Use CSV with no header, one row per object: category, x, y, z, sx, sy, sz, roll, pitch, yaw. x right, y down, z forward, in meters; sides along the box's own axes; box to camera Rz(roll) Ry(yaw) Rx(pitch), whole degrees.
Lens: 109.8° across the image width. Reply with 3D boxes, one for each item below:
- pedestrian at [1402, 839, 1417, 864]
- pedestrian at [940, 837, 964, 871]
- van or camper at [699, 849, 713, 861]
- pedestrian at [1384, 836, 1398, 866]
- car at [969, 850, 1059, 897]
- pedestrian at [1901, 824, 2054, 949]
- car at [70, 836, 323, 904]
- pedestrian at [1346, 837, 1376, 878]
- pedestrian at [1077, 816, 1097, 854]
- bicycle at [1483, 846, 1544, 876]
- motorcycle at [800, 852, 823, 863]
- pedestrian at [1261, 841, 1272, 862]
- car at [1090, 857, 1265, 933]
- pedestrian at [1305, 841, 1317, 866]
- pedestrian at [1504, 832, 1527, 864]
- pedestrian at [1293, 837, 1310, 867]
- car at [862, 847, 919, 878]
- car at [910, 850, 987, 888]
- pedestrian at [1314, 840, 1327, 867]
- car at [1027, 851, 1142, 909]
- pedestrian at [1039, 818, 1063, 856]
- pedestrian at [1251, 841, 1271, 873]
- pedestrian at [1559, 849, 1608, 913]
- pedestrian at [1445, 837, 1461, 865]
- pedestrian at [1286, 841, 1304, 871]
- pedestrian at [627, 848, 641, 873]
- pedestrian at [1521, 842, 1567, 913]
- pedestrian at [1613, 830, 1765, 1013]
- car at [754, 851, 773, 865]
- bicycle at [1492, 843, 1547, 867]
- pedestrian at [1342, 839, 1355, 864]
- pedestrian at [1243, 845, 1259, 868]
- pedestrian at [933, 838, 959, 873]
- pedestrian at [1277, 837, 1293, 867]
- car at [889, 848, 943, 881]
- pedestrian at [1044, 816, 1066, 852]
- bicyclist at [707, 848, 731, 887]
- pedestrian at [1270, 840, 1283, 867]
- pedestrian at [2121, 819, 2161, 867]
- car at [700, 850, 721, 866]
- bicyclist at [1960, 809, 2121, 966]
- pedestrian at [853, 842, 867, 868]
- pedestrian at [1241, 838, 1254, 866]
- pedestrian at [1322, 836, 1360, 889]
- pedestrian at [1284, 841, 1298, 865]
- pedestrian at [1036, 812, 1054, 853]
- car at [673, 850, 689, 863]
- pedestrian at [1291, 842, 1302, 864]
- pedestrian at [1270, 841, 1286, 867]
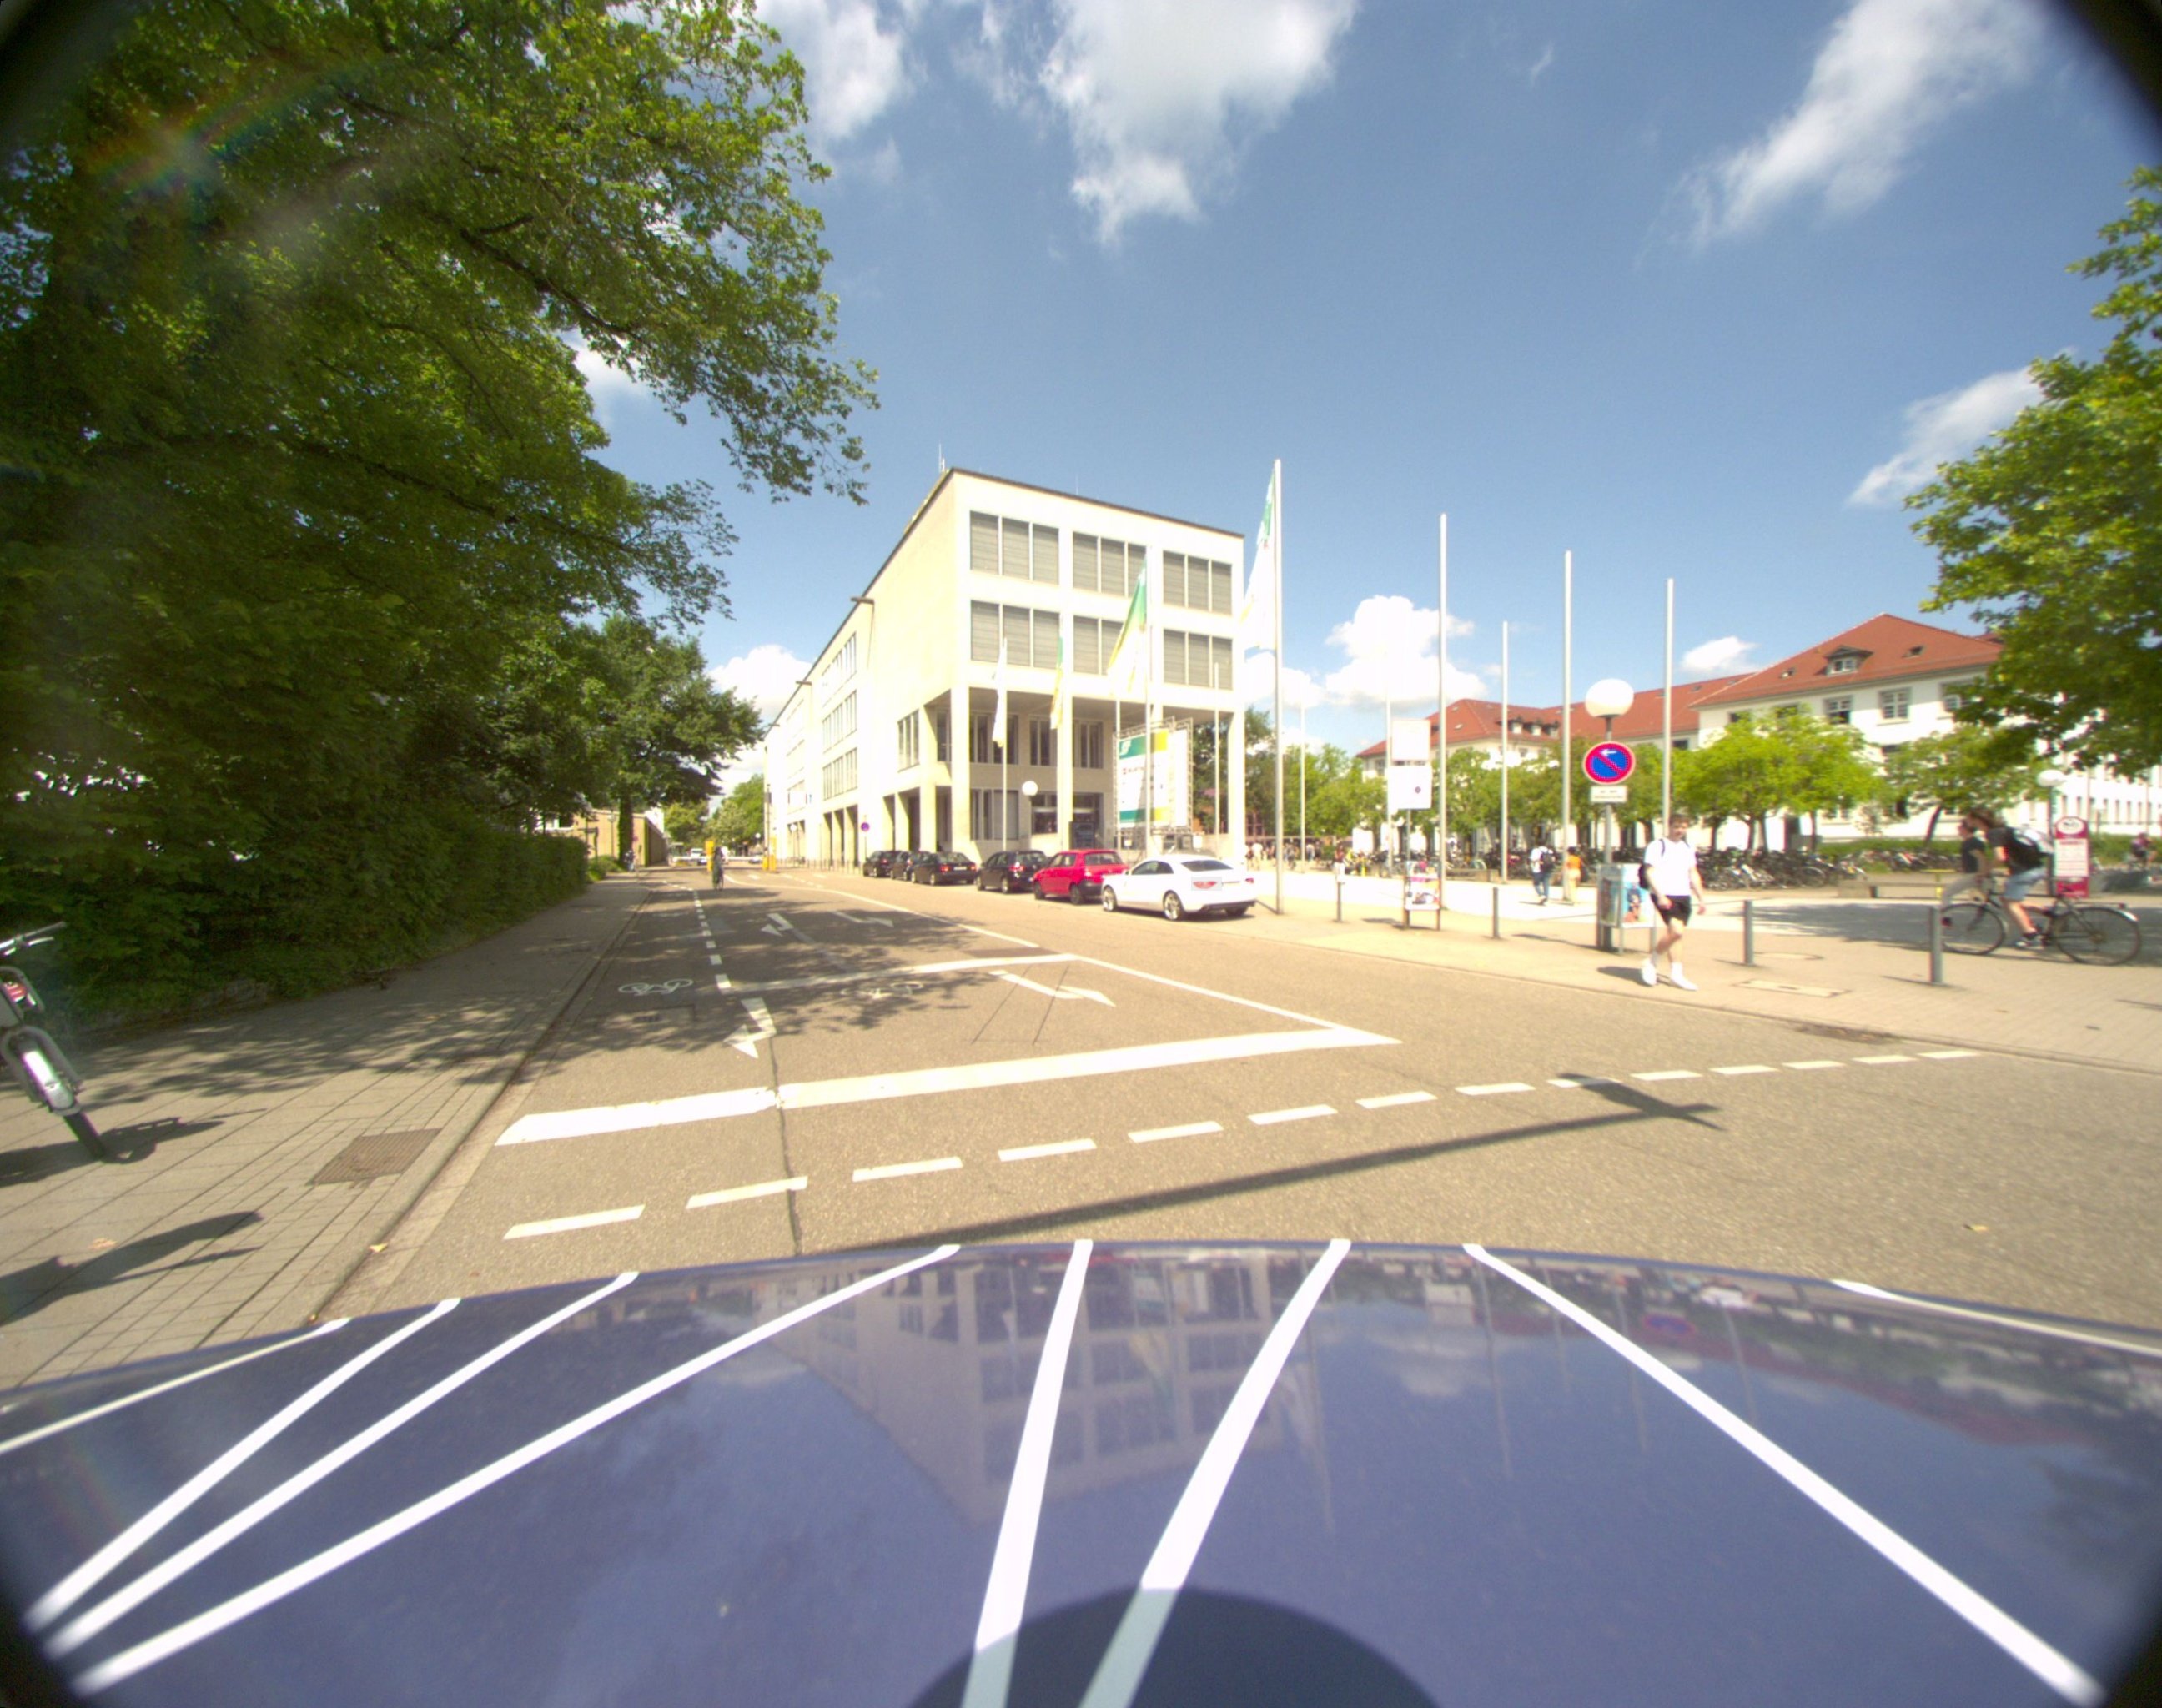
pedestrian,26.663,-0.226,61.758,0.890,2.002,0.736,-1,2,-1
pedestrian,-7.749,0.017,45.652,1.163,2.002,0.988,-1,1,8
van or camper,-70.040,0.167,141.935,2.002,2.348,4.374,-1,1,-21
pedestrian,20.859,-0.210,51.090,0.759,2.002,0.738,0,2,30
car,-2.481,0.619,26.986,1.755,1.459,4.187,-3,2,-26
pedestrian,14.124,0.489,12.016,0.705,1.844,1.396,-1,0,-18
car,-28.152,0.454,24.467,4.848,2.002,2.057,-1,1,-27
pedestrian,13.376,0.165,36.343,0.990,1.929,0.942,-1,1,-31
pedestrian,0.358,-1.076,42.750,0.802,2.133,0.707,0,2,42
bicycle,21.388,0.322,37.643,1.148,1.403,2.949,-1,1,-6
motorcycle,-28.267,0.359,79.736,2.177,1.131,0.773,-1,1,-37
pedestrian,17.778,-0.240,72.650,0.815,1.923,0.738,0,2,30
car,2.045,0.840,17.654,1.684,1.387,4.651,-3,2,-27
pedestrian,18.321,-0.037,60.531,0.759,2.002,0.738,0,2,30
pedestrian,30.453,-0.440,53.245,1.025,2.187,1.039,-1,1,-29
pedestrian,15.147,-0.151,52.205,0.762,2.002,0.735,-2,2,-22
car,-10.432,0.421,41.329,1.868,1.459,4.707,-3,2,-28
car,-5.772,0.571,32.530,1.868,1.370,5.005,-3,2,-26
pedestrian,16.496,-0.062,52.267,0.759,1.827,0.701,0,2,24
car,-0.002,0.675,22.069,1.684,1.459,3.902,-3,2,-27
pedestrian,-1.629,-0.936,40.881,0.982,2.002,0.908,-2,2,-28
pedestrian,10.092,0.169,42.587,0.739,1.747,0.757,-2,2,-37
pedestrian,13.333,0.693,20.169,0.847,1.641,0.744,-1,1,-26
pedestrian,29.365,-0.201,59.984,0.961,2.187,0.973,0,1,40
pedestrian,12.282,0.106,43.569,0.757,1.747,0.739,0,2,39
pedestrian,-29.712,0.409,50.506,0.743,1.665,1.253,-1,1,-31
pedestrian,12.310,0.600,20.208,0.723,1.848,0.768,-1,1,-26
pedestrian,6.563,0.674,8.262,0.722,1.840,1.088,-2,2,-6
car,-39.537,0.478,94.666,1.734,1.527,4.395,-3,3,-27
bicycle,26.923,0.024,46.725,1.149,1.403,2.946,-2,1,-19
pedestrian,23.053,-0.251,65.427,0.888,2.131,0.738,0,2,30
pedestrian,11.750,0.161,52.518,0.734,1.604,0.735,-2,2,-24
pedestrian,-7.824,0.069,44.083,1.163,2.002,0.988,-1,1,8
pedestrian,14.098,-0.136,52.454,0.762,2.002,0.735,-2,2,-22
car,-8.197,0.475,37.552,1.646,1.459,3.698,-3,2,-28
pedestrian,-1.463,-1.139,43.509,0.978,2.002,0.747,0,2,42
bicyclist,-14.044,0.504,29.508,0.782,1.478,0.694,-1,1,-29
pedestrian,14.808,-0.034,57.536,0.889,1.974,0.839,-1,2,9
pedestrian,49.065,-0.505,35.111,1.161,2.187,1.038,-1,1,-30
car,-41.593,0.431,85.208,2.003,1.805,3.991,-1,1,-27
bicyclist,11.890,0.387,9.445,0.792,1.807,0.998,-3,1,-18
pedestrian,-17.392,0.097,59.877,0.860,2.002,0.879,-2,2,-25
pedestrian,12.595,-0.120,57.492,0.889,2.091,0.737,-1,2,9
pedestrian,10.251,0.320,29.956,1.061,2.002,0.986,-1,1,-31
pedestrian,17.519,-0.082,63.407,0.888,2.002,0.738,0,2,30
pedestrian,-2.157,-1.268,45.584,0.736,2.408,0.761,0,2,36
car,-48.001,0.256,91.165,1.764,1.559,3.808,0,0,-28
pedestrian,18.716,-0.095,65.960,0.708,1.874,0.738,0,2,30
pedestrian,13.419,0.010,51.700,0.761,1.763,0.736,-1,1,-26
